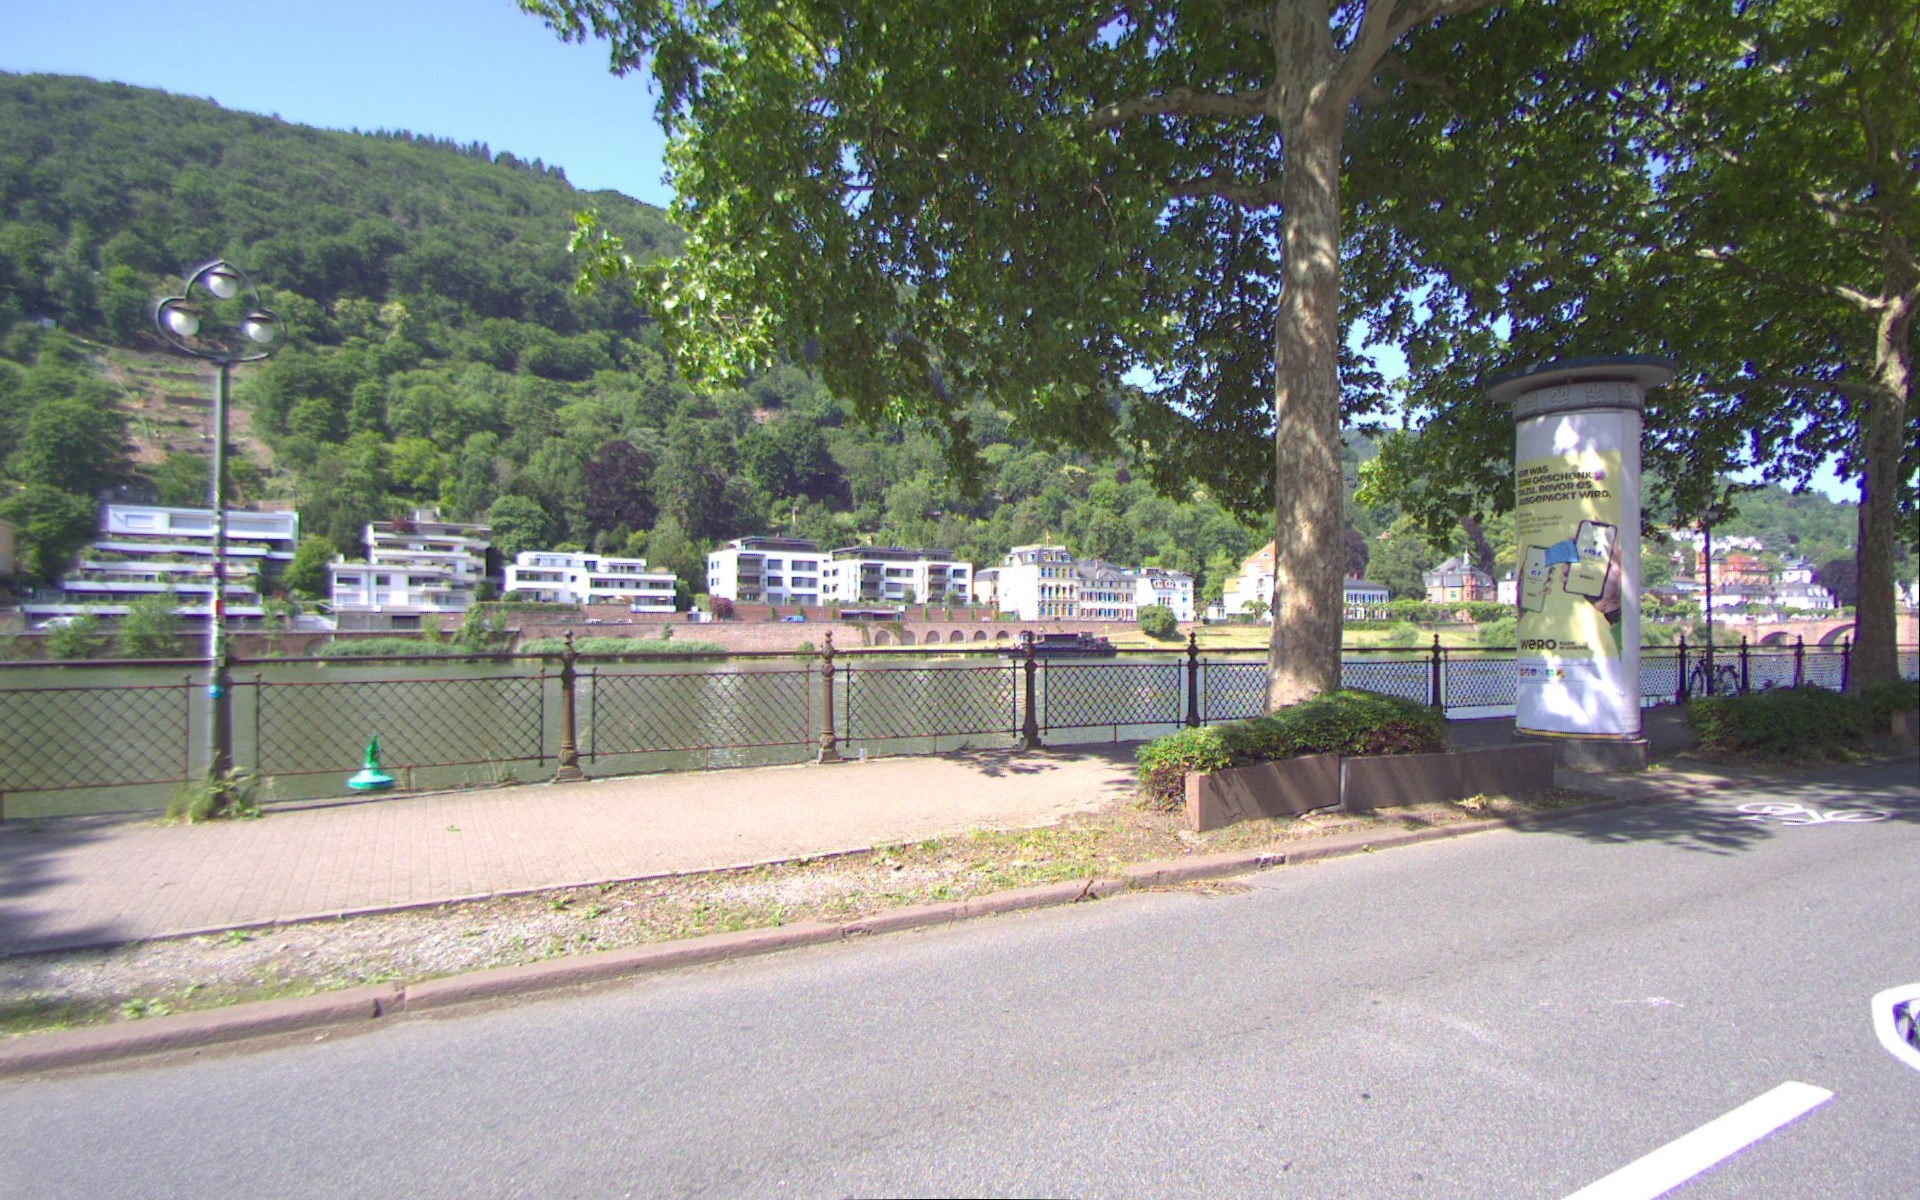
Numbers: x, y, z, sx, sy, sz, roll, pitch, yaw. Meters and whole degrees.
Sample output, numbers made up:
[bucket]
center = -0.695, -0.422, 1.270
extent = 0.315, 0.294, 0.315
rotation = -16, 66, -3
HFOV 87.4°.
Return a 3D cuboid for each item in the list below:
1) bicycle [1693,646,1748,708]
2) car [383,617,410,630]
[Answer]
[bicycle]
center = 14.358, 1.432, 18.961
extent = 1.281, 1.106, 0.357
rotation = 1, 2, -31
[car]
center = -95.428, 4.011, 170.091
extent = 3.953, 2.040, 1.984
rotation = 1, 0, -30
